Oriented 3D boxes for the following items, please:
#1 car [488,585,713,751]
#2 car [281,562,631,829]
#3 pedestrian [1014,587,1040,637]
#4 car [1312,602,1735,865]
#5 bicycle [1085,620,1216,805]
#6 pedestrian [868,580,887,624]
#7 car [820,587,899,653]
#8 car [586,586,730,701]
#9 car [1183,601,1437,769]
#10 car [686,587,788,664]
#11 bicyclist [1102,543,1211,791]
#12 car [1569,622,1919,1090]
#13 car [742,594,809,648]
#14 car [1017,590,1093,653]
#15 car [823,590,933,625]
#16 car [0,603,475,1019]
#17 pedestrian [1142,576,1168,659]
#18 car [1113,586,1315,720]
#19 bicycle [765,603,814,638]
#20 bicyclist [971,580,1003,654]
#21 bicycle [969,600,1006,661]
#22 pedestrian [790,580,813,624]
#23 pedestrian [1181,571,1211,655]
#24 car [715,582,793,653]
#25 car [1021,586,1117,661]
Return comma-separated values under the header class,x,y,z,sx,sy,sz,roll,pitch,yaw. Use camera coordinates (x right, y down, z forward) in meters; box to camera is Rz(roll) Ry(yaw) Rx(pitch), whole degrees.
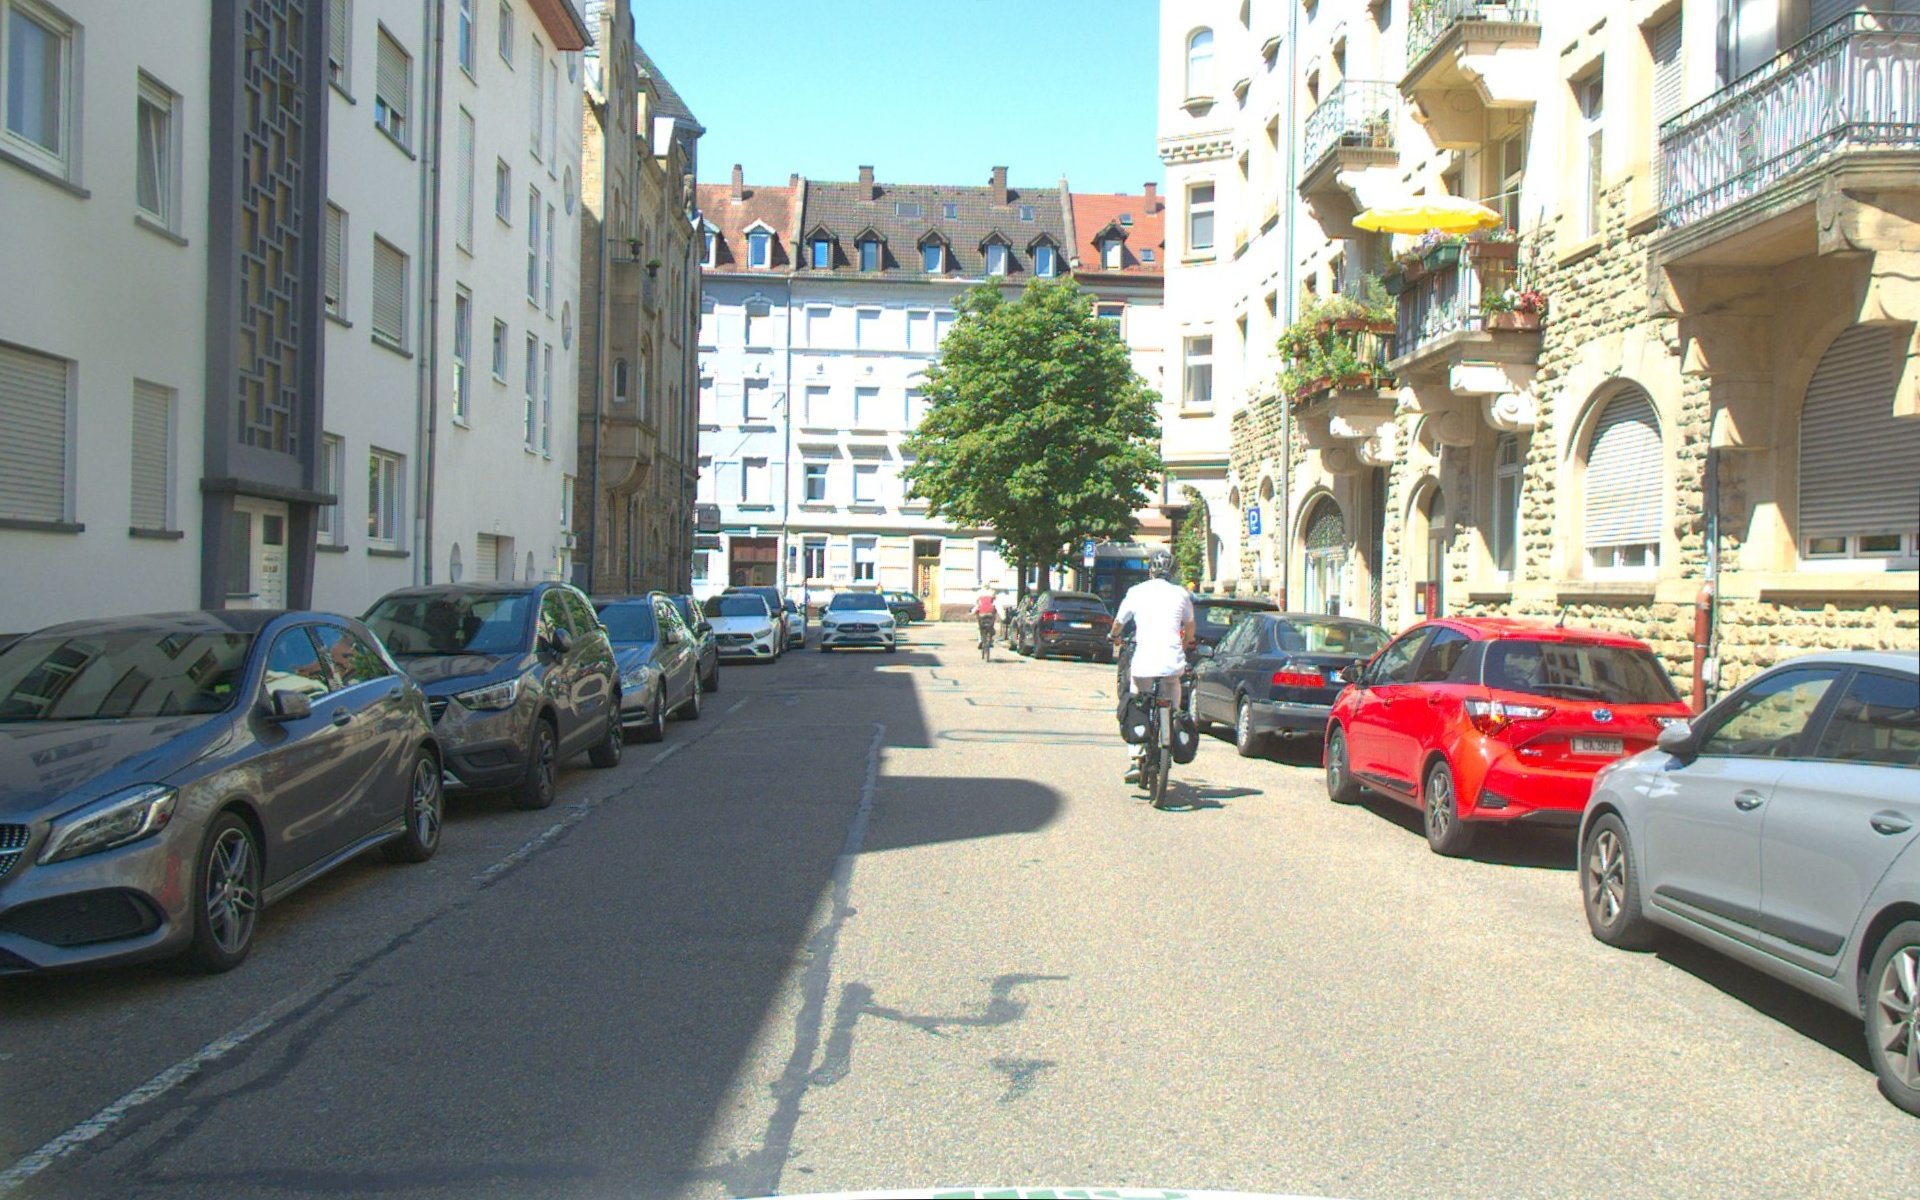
class,x,y,z,sx,sy,sz,roll,pitch,yaw
car,-3.790,0.650,18.185,1.623,1.545,4.669,-1,0,-3
car,-3.626,0.606,12.599,1.571,1.673,3.975,-1,0,-3
pedestrian,2.324,0.404,57.252,0.840,1.701,0.774,0,0,-2
car,3.772,0.798,11.777,1.539,1.478,3.841,3,0,-2
bicycle,1.440,0.811,12.888,0.638,1.250,2.441,2,0,-1
pedestrian,-3.589,0.087,71.966,0.712,1.886,0.683,0,0,-12
car,-2.432,0.468,40.745,1.804,1.486,4.360,-1,0,-3
car,-4.349,0.585,24.313,1.536,1.518,3.892,-1,0,-3
car,3.532,0.793,17.364,1.483,1.423,3.969,5,0,-4
car,-4.678,0.508,35.160,1.741,1.485,4.277,-1,0,-3
bicyclist,1.467,0.490,12.443,0.657,1.791,0.609,3,0,-2
car,3.930,0.894,6.549,1.557,1.478,3.856,3,0,0
car,-5.030,0.547,45.507,1.668,1.376,4.511,-1,0,-5
car,2.562,0.571,45.461,1.630,1.567,4.176,3,0,-2
car,-3.625,0.327,73.425,4.762,1.462,1.999,0,0,-3
car,-3.741,0.749,7.880,1.729,1.417,4.346,-1,0,-3
pedestrian,4.536,0.401,38.498,0.508,1.901,0.654,1,-1,2
car,3.410,0.657,23.068,1.797,1.594,4.602,3,0,-3
bicycle,-5.379,0.646,52.256,1.496,1.025,0.366,3,-1,-7
bicyclist,0.579,0.354,35.363,0.657,1.560,0.609,0,0,-2
bicycle,0.570,0.631,35.367,0.638,1.230,2.441,2,0,-1
pedestrian,-6.992,0.071,73.049,0.832,1.922,0.936,0,0,8
pedestrian,5.488,0.302,38.515,0.587,1.913,0.883,1,-1,3
car,-5.004,0.406,40.579,1.639,1.610,4.049,-1,0,-4
car,2.593,0.538,40.290,1.701,1.624,4.344,3,0,-4
